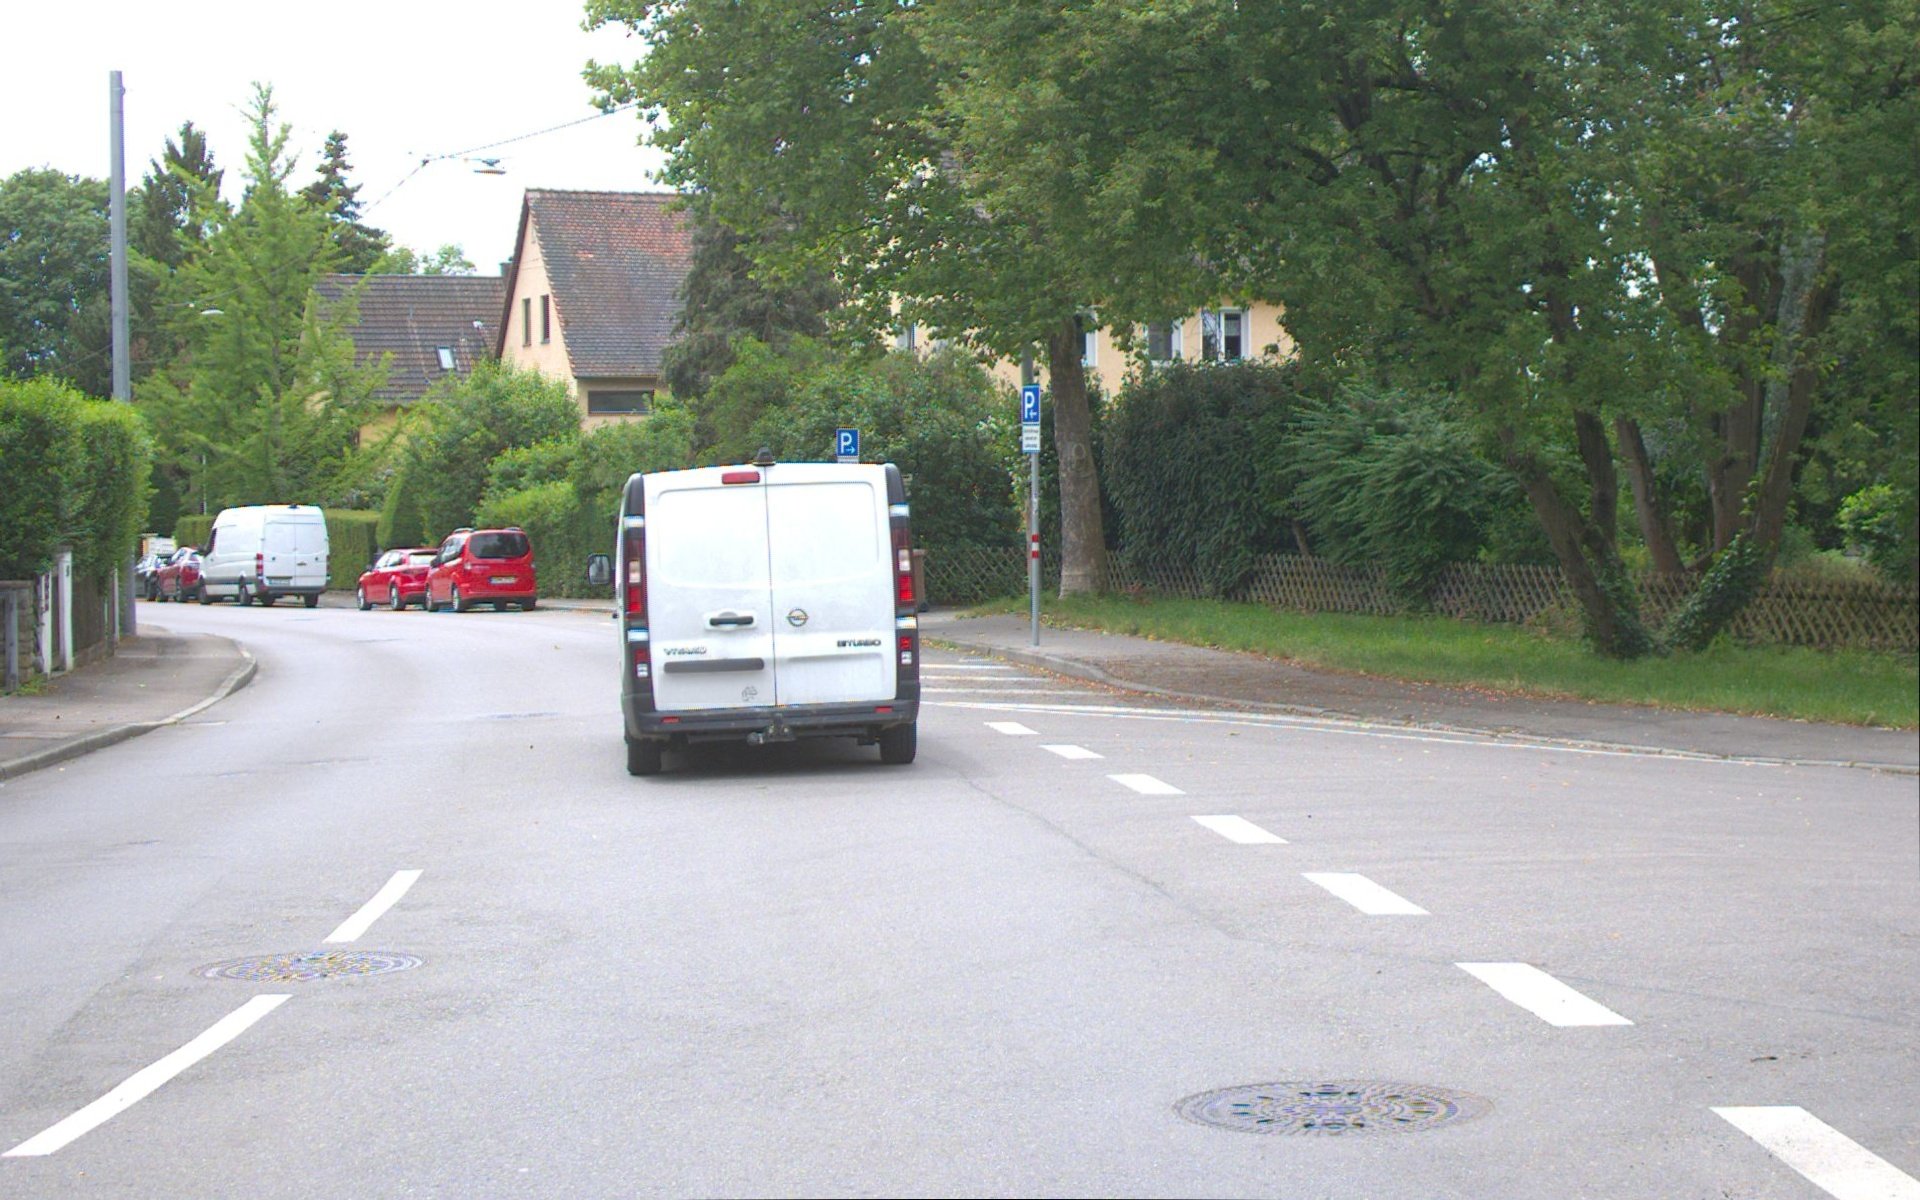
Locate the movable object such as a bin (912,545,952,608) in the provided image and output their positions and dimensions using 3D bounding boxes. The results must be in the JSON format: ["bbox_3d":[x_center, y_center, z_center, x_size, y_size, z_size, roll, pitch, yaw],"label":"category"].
[{"bbox_3d":[-0.473,-0.398,58.044,0.603,1.066,0.568,0,1,-9],"label":"movable object such as a bin"}]

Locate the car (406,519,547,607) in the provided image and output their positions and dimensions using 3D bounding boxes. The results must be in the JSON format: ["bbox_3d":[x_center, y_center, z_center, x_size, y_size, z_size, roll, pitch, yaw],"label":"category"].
[{"bbox_3d":[-10.415,-0.820,73.758,1.760,1.791,4.950,-1,1,-23],"label":"car"}]

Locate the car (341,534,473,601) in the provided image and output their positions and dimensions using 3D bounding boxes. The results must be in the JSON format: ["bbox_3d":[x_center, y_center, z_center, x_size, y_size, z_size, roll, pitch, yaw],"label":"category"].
[{"bbox_3d":[-12.626,-0.765,78.317,1.712,1.462,4.269,-1,2,-27],"label":"car"}]

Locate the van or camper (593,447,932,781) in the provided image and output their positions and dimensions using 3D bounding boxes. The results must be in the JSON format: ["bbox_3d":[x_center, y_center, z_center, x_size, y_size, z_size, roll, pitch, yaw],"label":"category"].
[{"bbox_3d":[-1.452,-0.023,23.304,1.923,2.006,4.831,0,3,-8],"label":"van or camper"}]

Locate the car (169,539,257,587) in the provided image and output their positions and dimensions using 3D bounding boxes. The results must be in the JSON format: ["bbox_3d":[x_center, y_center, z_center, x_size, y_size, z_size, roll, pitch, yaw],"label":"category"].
[{"bbox_3d":[-21.226,-1.070,97.654,1.530,1.300,4.032,-1,2,-26],"label":"car"}]

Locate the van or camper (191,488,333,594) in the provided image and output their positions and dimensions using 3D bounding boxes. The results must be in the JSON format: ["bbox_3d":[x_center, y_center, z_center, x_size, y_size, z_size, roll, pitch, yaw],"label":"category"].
[{"bbox_3d":[-18.529,-1.591,91.037,2.066,2.665,6.329,-2,2,-26],"label":"van or camper"}]
